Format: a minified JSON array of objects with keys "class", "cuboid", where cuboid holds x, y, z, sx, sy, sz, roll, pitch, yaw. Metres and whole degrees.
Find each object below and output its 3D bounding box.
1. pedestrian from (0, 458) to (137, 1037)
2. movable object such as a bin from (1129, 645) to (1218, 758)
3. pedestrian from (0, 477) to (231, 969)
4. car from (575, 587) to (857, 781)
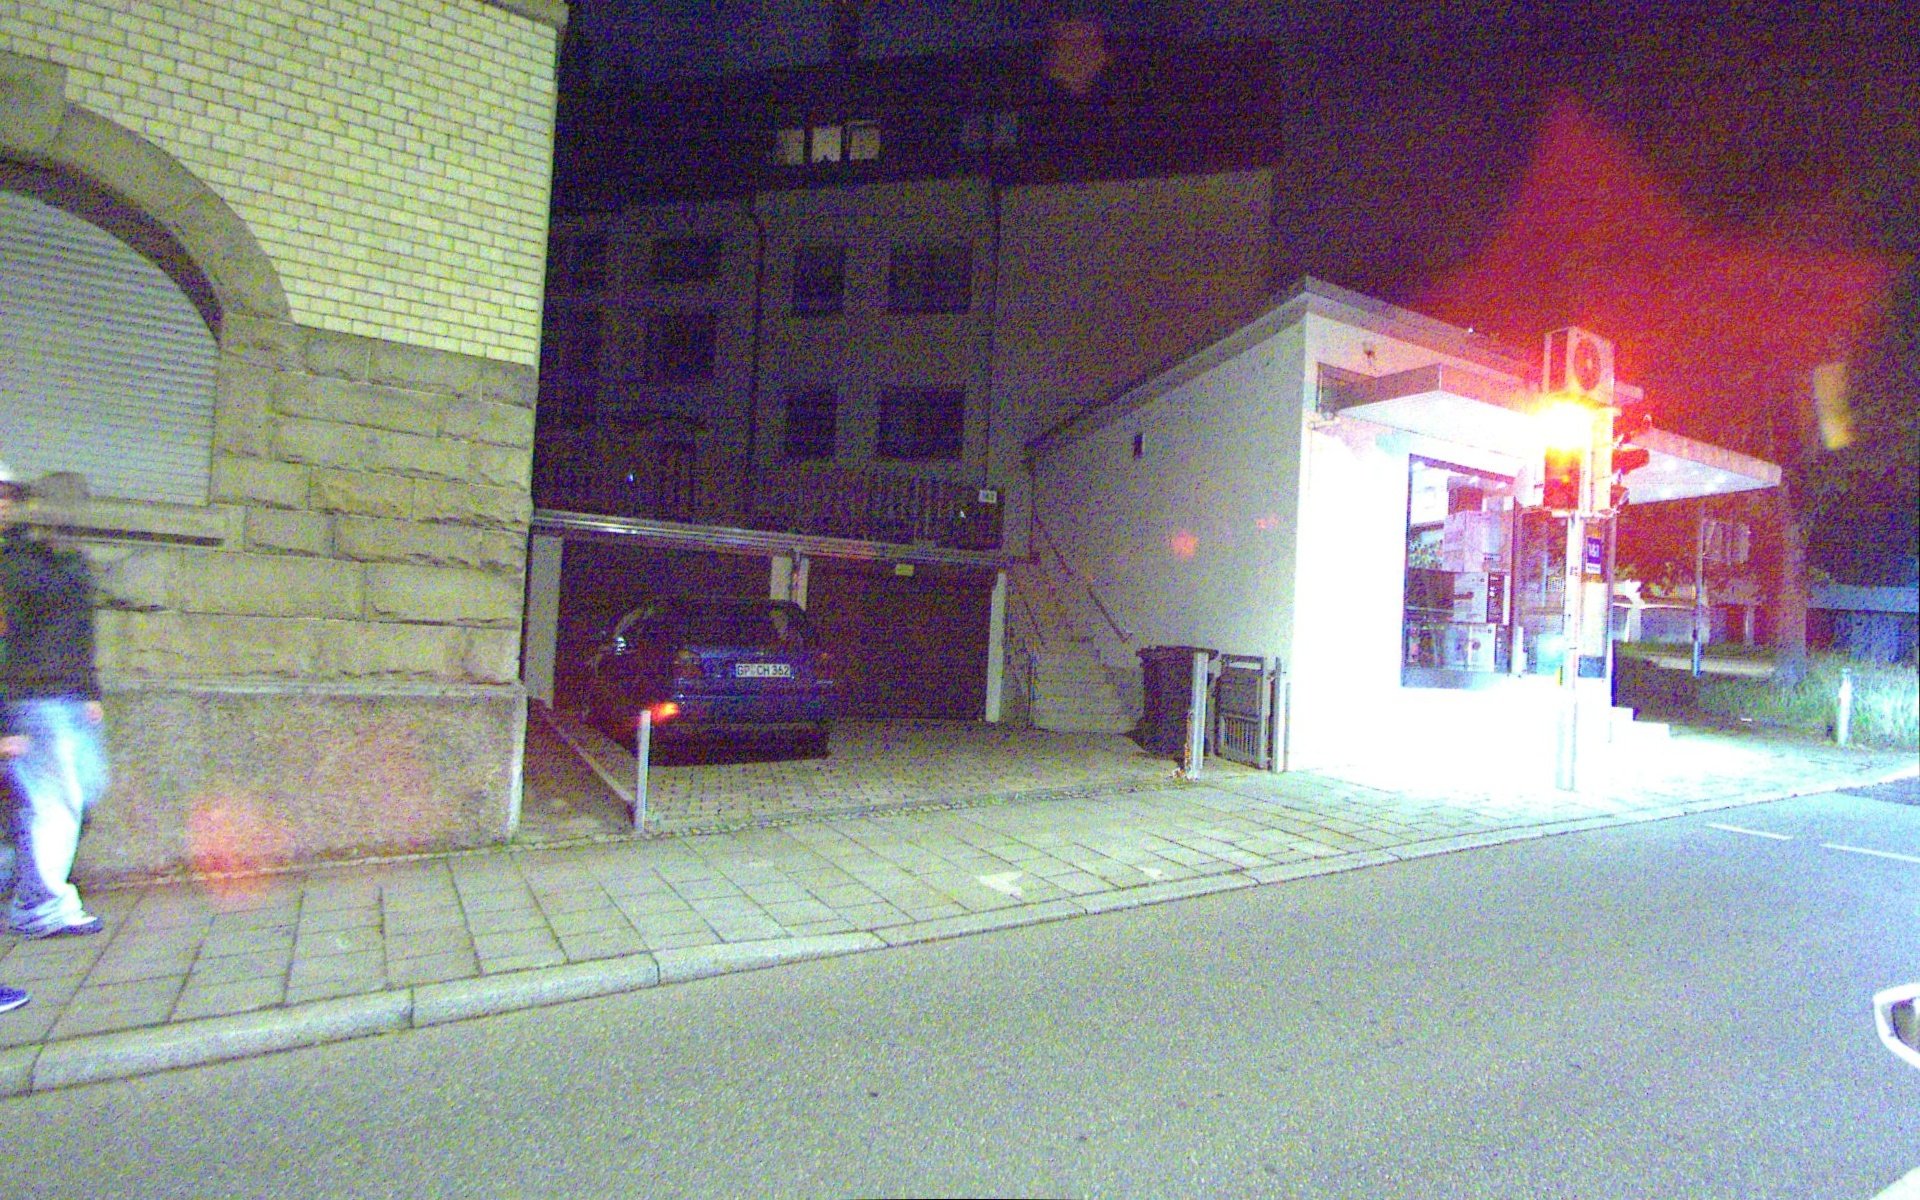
[{"class":"pedestrian","cuboid":[-3.360,0.441,3.193,1.017,1.768,0.672,2,0,-31]},{"class":"movable object such as a bin","cuboid":[2.118,0.998,10.034,0.643,1.063,0.639,2,0,-12]},{"class":"pedestrian","cuboid":[-3.605,0.441,3.942,1.091,1.768,0.738,2,0,-31]},{"class":"car","cuboid":[-2.451,0.651,9.505,1.655,1.470,3.341,2,-1,-31]}]
